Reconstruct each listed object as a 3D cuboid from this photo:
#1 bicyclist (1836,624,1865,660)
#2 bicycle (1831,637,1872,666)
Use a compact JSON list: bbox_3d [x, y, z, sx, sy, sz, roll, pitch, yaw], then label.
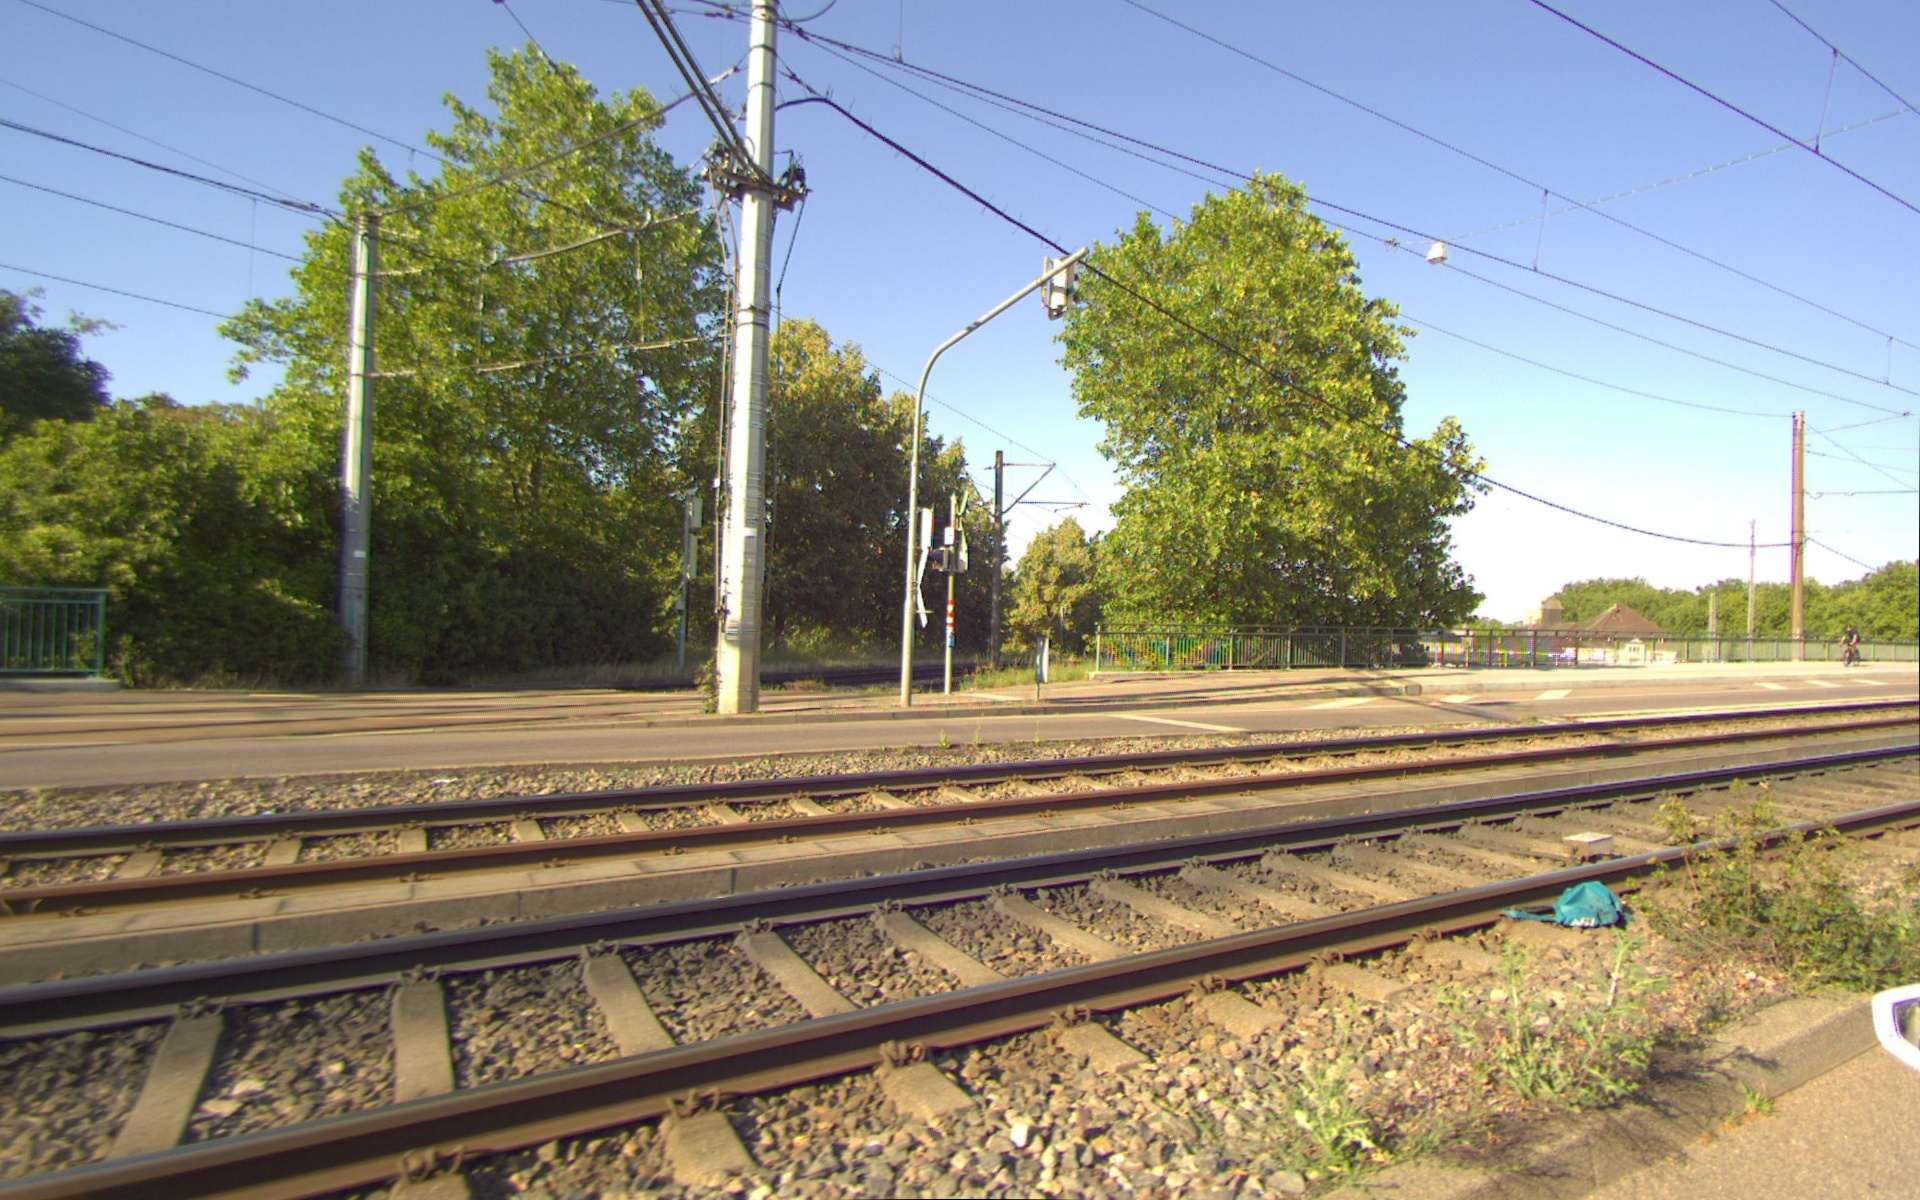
[{"bbox_3d":[36.746,1.735,41.447,0.957,1.451,0.622,3,-1,-30],"label":"bicyclist"},{"bbox_3d":[36.845,2.117,41.508,2.233,1.137,0.622,3,-1,-30],"label":"bicycle"}]
